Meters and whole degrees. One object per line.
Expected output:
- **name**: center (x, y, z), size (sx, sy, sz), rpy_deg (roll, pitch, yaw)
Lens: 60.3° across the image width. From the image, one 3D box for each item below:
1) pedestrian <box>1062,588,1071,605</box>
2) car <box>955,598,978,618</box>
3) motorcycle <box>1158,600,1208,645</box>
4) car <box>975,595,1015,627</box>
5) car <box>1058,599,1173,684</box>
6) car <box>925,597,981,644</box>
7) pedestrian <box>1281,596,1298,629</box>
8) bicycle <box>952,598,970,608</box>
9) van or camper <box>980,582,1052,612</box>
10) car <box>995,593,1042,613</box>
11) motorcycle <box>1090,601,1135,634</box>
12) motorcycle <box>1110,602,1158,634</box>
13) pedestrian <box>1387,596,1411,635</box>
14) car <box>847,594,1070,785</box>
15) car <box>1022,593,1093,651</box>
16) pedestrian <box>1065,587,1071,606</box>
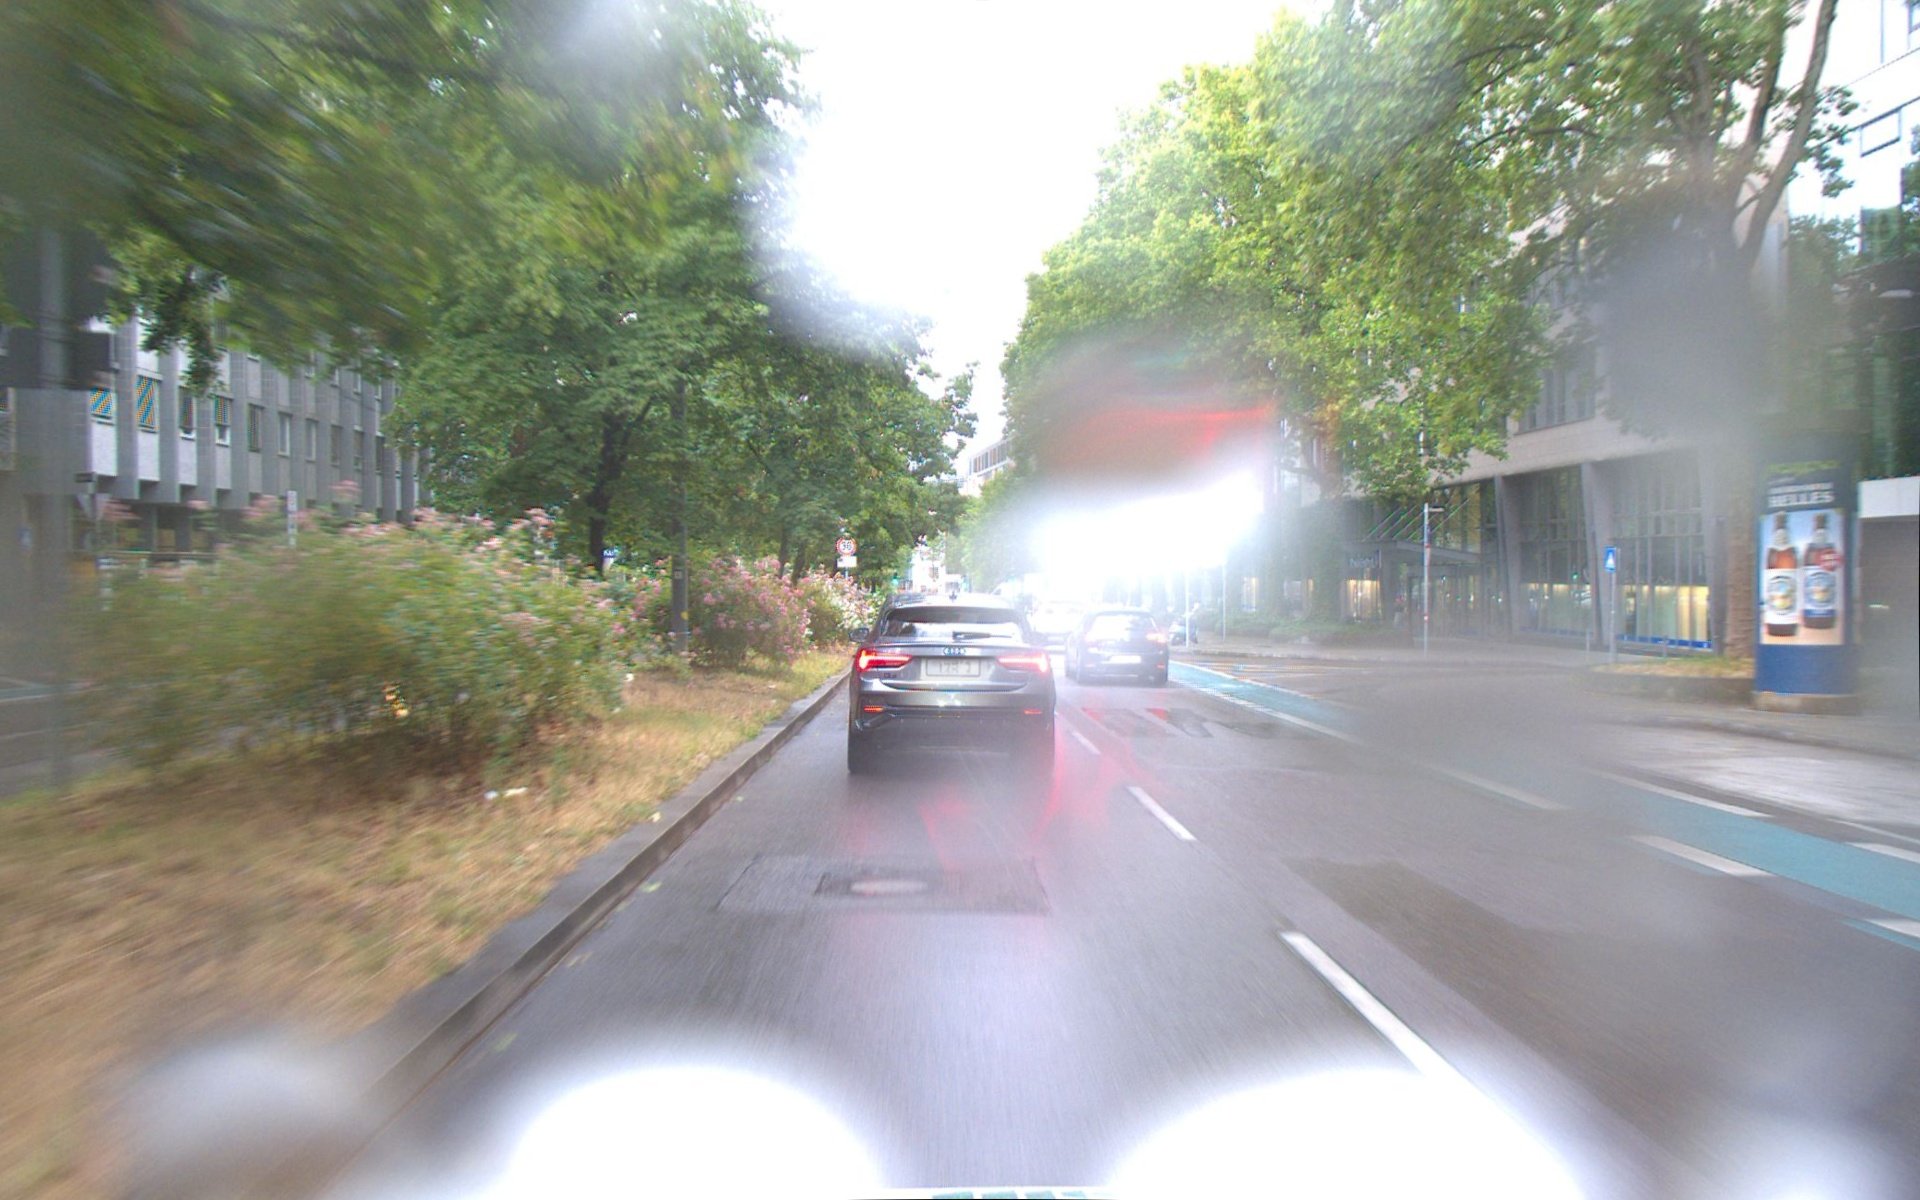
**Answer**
- **pedestrian**: center (10.894, -0.405, 169.096), size (0.789, 1.726, 1.187), rpy_deg (1, 0, -1)
- **car**: center (0.511, 0.633, 134.536), size (1.812, 1.550, 4.037), rpy_deg (0, 0, -1)
- **motorcycle**: center (7.464, 0.739, 55.268), size (0.672, 1.391, 1.936), rpy_deg (-4, -1, 39)
- **car**: center (1.727, 0.528, 81.900), size (1.812, 1.550, 4.037), rpy_deg (0, 0, -1)
- **car**: center (2.996, 0.770, 32.632), size (1.812, 1.550, 4.037), rpy_deg (0, 0, -1)
- **car**: center (-0.258, 0.669, 56.111), size (1.812, 1.550, 4.037), rpy_deg (0, 0, -1)
- **pedestrian**: center (18.208, 0.697, 91.382), size (0.808, 1.835, 0.729), rpy_deg (0, 0, 1)
- **bicycle**: center (0.165, 0.414, 221.783), size (2.294, 1.335, 0.708), rpy_deg (0, 0, -9)
- **van or camper**: center (4.921, -0.243, 145.440), size (5.946, 2.603, 2.103), rpy_deg (0, 0, 26)
- **car**: center (4.930, 0.244, 139.483), size (3.572, 1.574, 1.716), rpy_deg (1, 0, 18)
- **motorcycle**: center (6.970, 0.781, 75.448), size (1.929, 1.397, 0.724), rpy_deg (-2, 2, -23)
- **motorcycle**: center (7.249, 0.753, 68.688), size (2.038, 1.234, 0.676), rpy_deg (-3, 0, -37)
- **pedestrian**: center (19.723, 0.702, 74.333), size (0.716, 1.722, 0.823), rpy_deg (-1, 1, 41)
- **car**: center (-0.077, 0.730, 15.525), size (1.812, 1.550, 4.037), rpy_deg (0, 0, -2)
- **car**: center (2.918, 0.637, 50.288), size (1.812, 1.698, 4.037), rpy_deg (0, 0, -1)
- **pedestrian**: center (10.698, -0.376, 164.011), size (0.542, 1.837, 0.761), rpy_deg (1, -1, -4)
